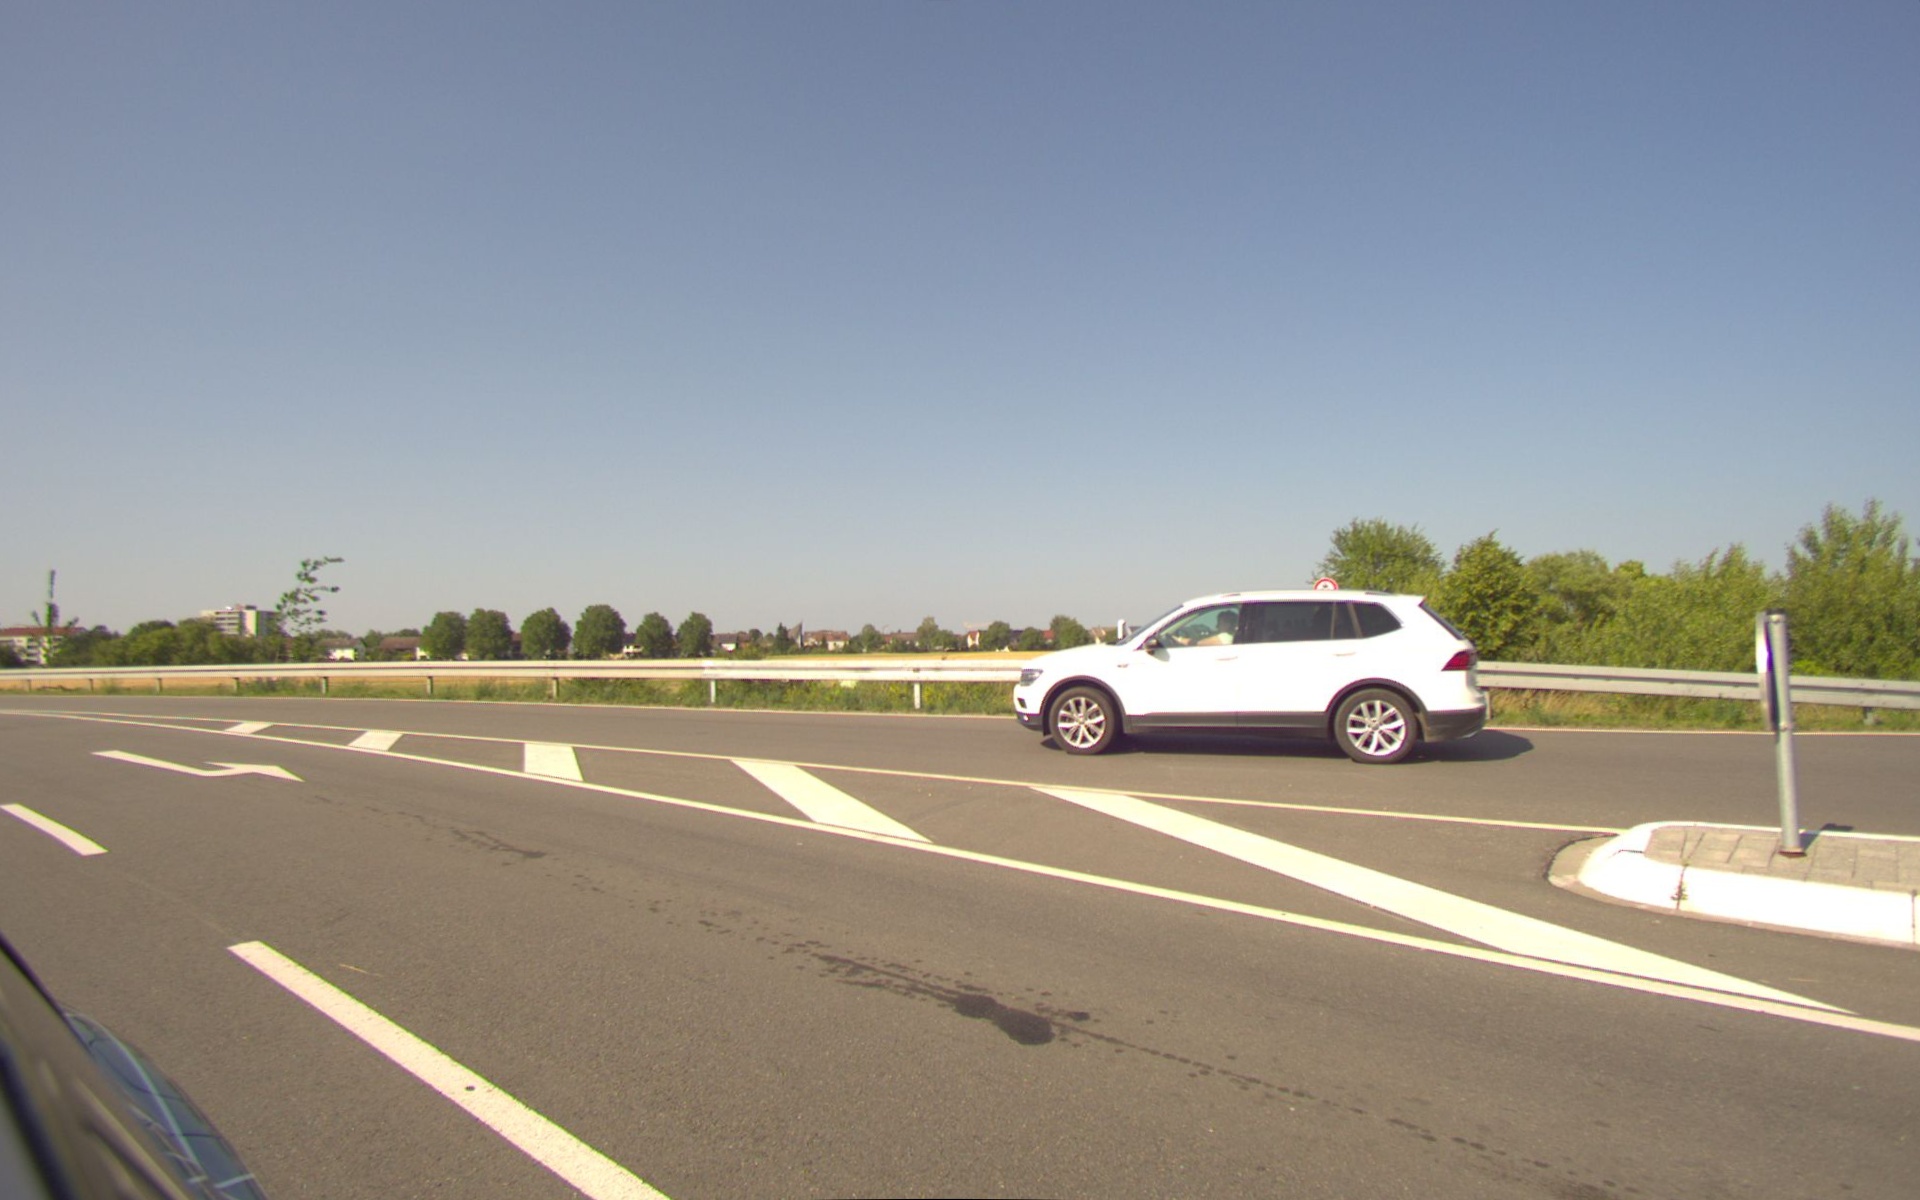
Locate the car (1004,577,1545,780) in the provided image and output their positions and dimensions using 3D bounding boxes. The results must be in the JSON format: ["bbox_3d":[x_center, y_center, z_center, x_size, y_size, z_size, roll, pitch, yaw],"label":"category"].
[{"bbox_3d":[3.009,0.668,10.314,4.825,1.686,1.687,1,0,19],"label":"car"}]
